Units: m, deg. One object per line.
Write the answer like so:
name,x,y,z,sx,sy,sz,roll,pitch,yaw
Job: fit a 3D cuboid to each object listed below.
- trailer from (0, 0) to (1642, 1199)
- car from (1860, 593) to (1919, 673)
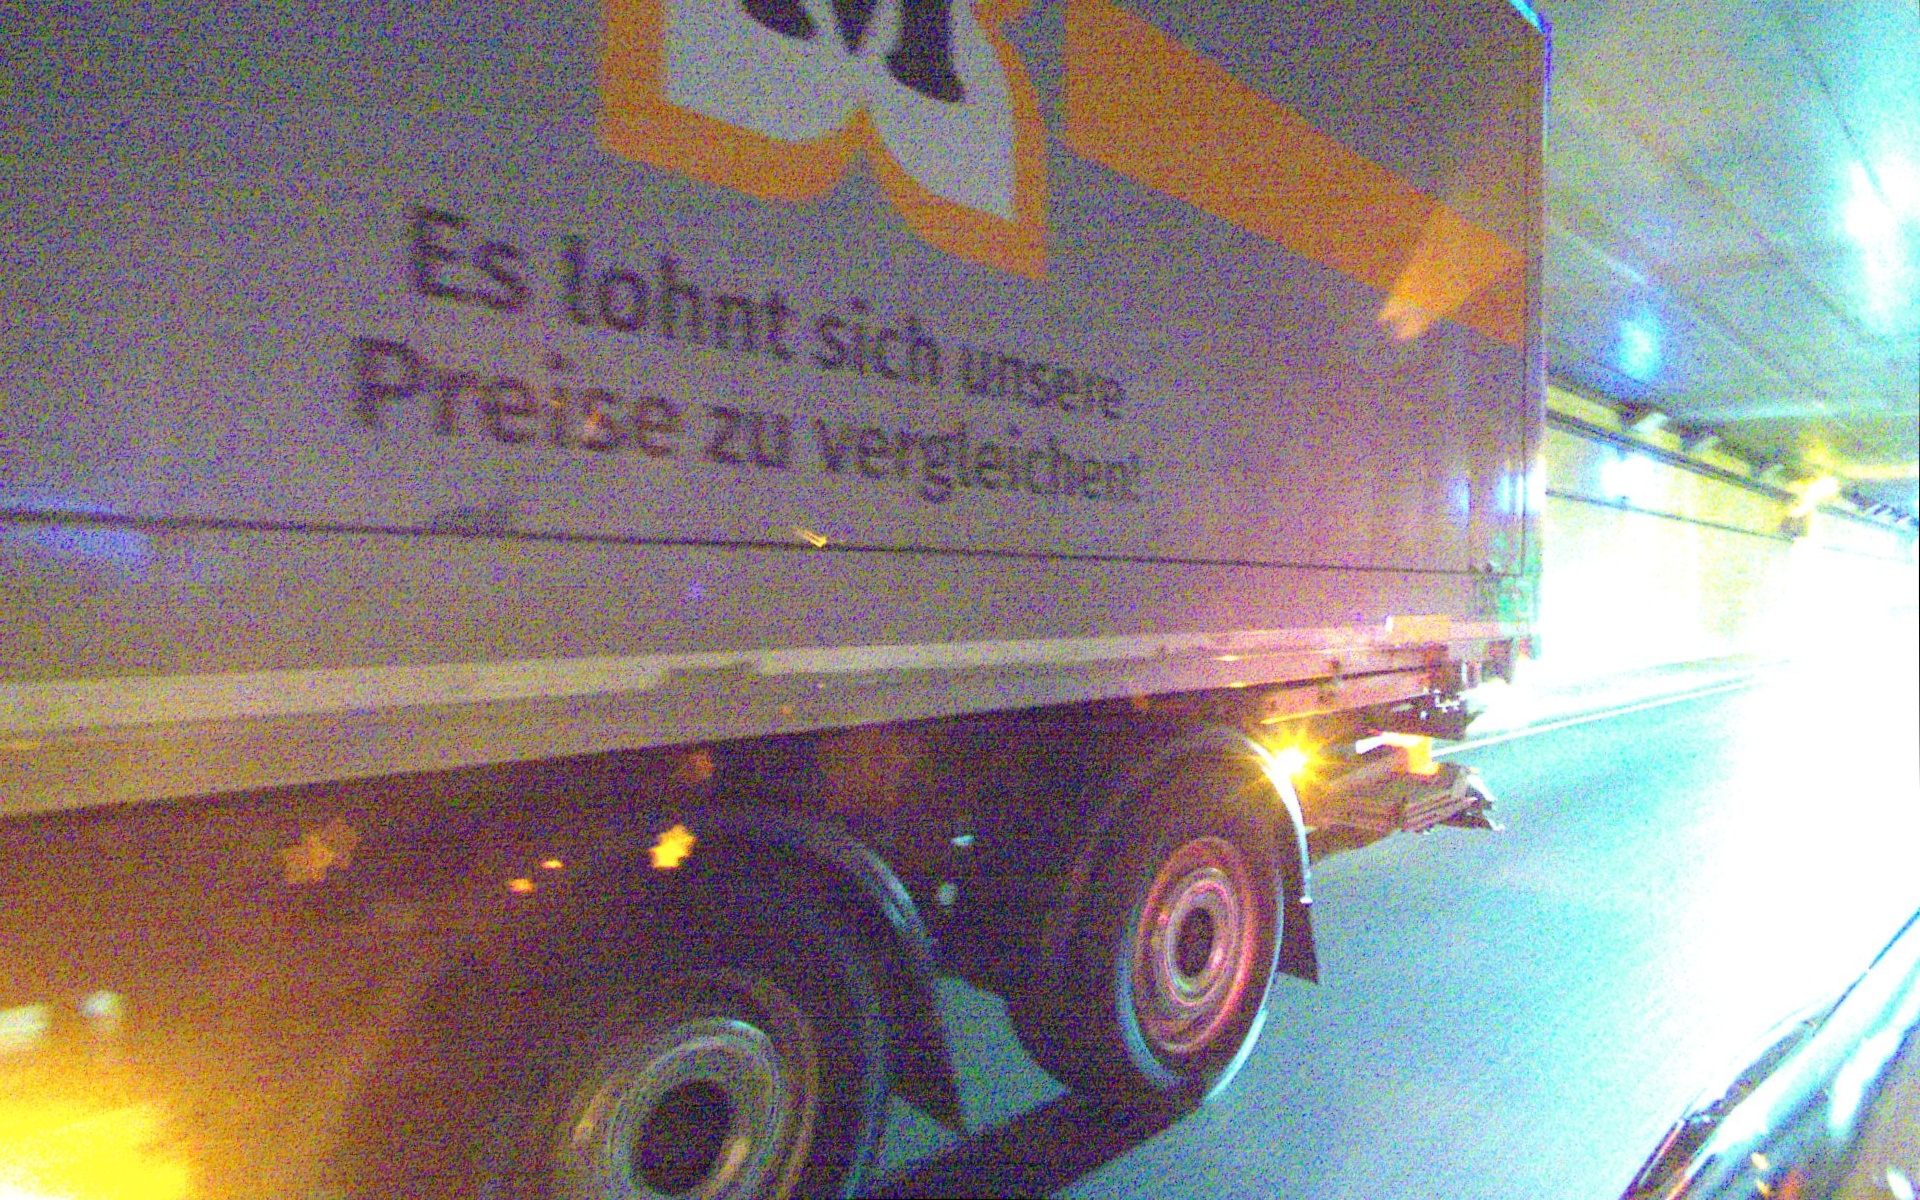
trailer,-1.396,-0.621,2.538,8.790,3.906,2.881,0,1,-41
car,18.779,0.585,19.471,3.733,1.420,1.733,-1,1,-41
